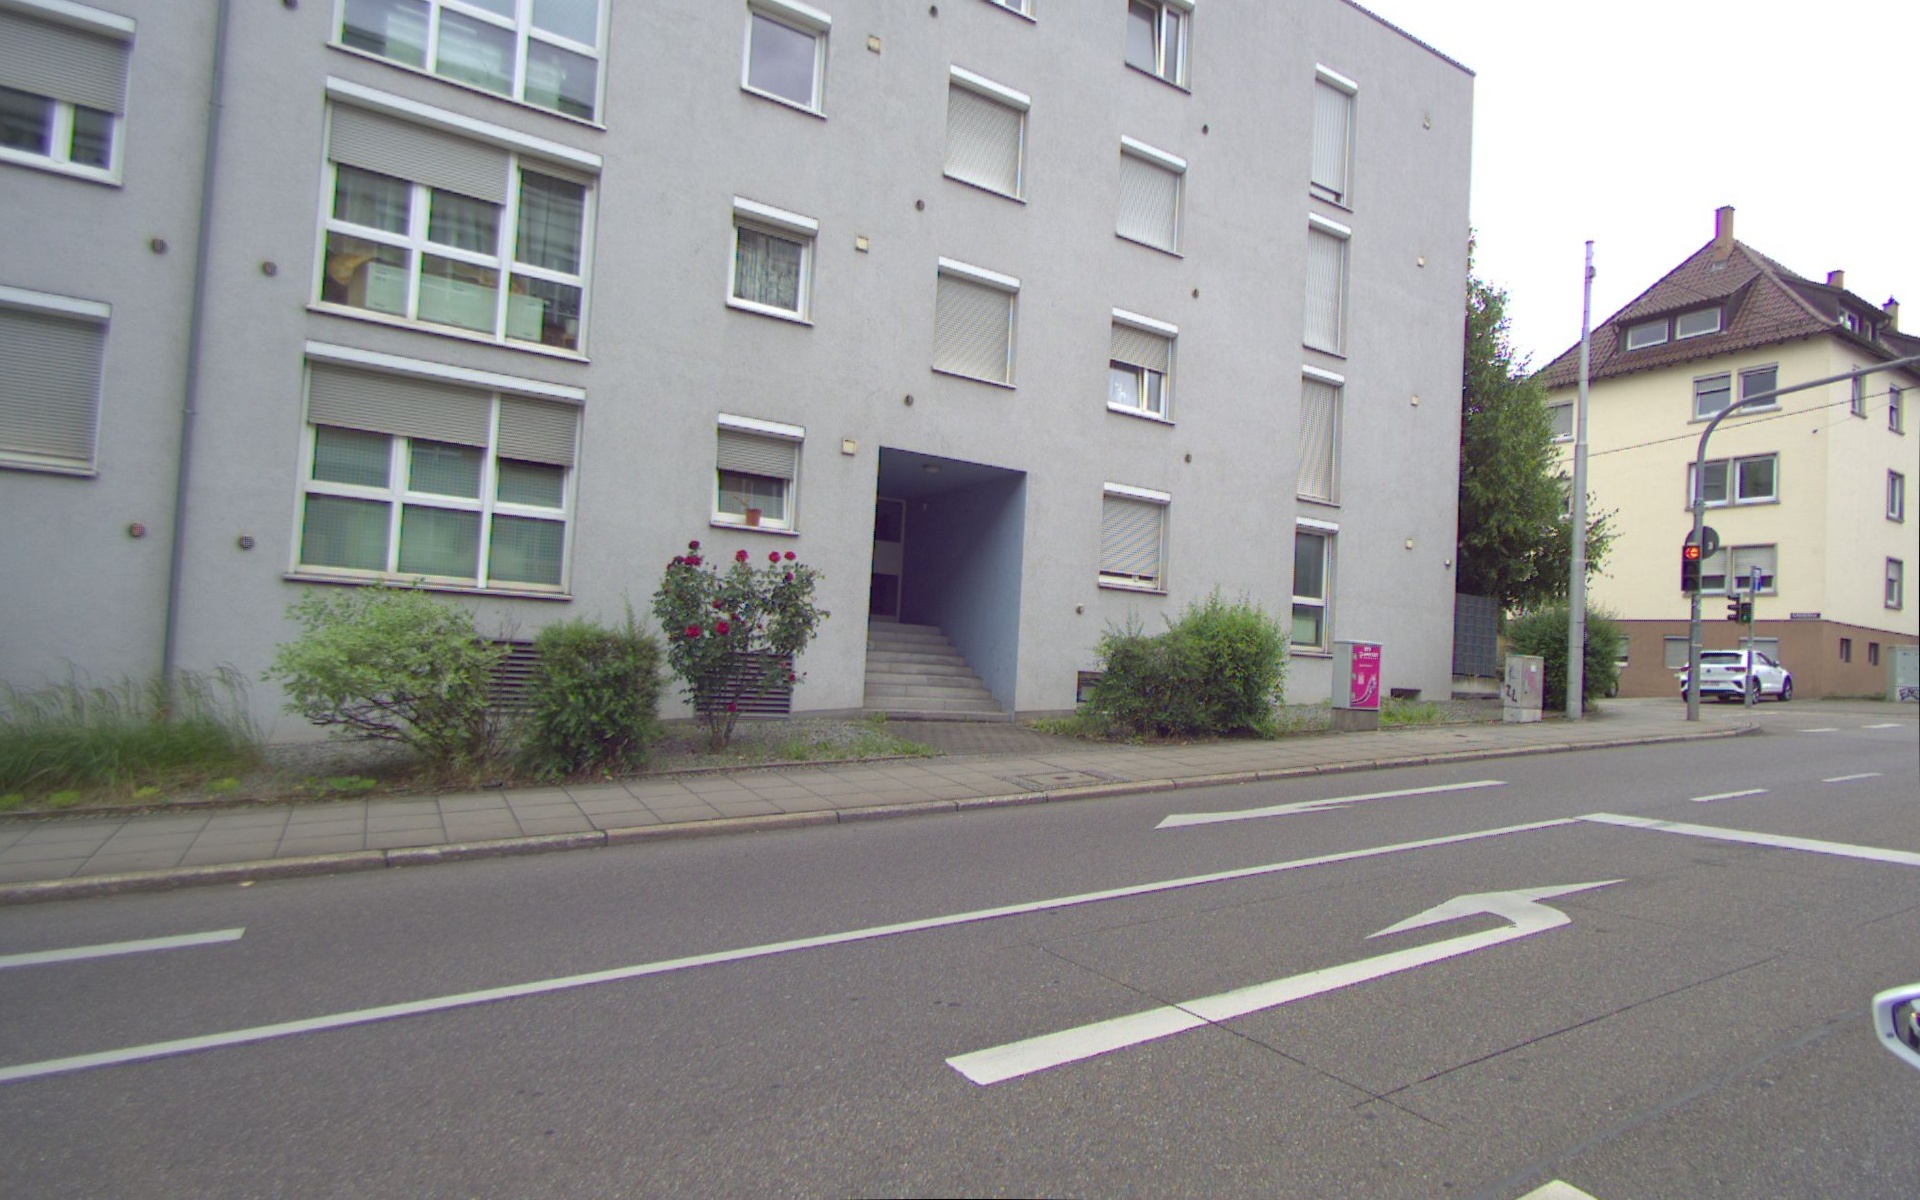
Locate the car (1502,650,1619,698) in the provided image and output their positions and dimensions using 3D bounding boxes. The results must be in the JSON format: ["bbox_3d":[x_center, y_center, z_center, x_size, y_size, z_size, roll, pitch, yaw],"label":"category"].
[{"bbox_3d":[20.622,2.517,34.450,4.053,1.566,1.662,2,-4,-30],"label":"car"}]

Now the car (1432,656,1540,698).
[{"bbox_3d":[19.169,2.757,36.590,3.953,1.380,1.662,2,-1,-30],"label":"car"}]

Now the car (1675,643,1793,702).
[{"bbox_3d":[23.261,2.143,30.157,3.960,1.683,1.660,2,-4,-35],"label":"car"}]
